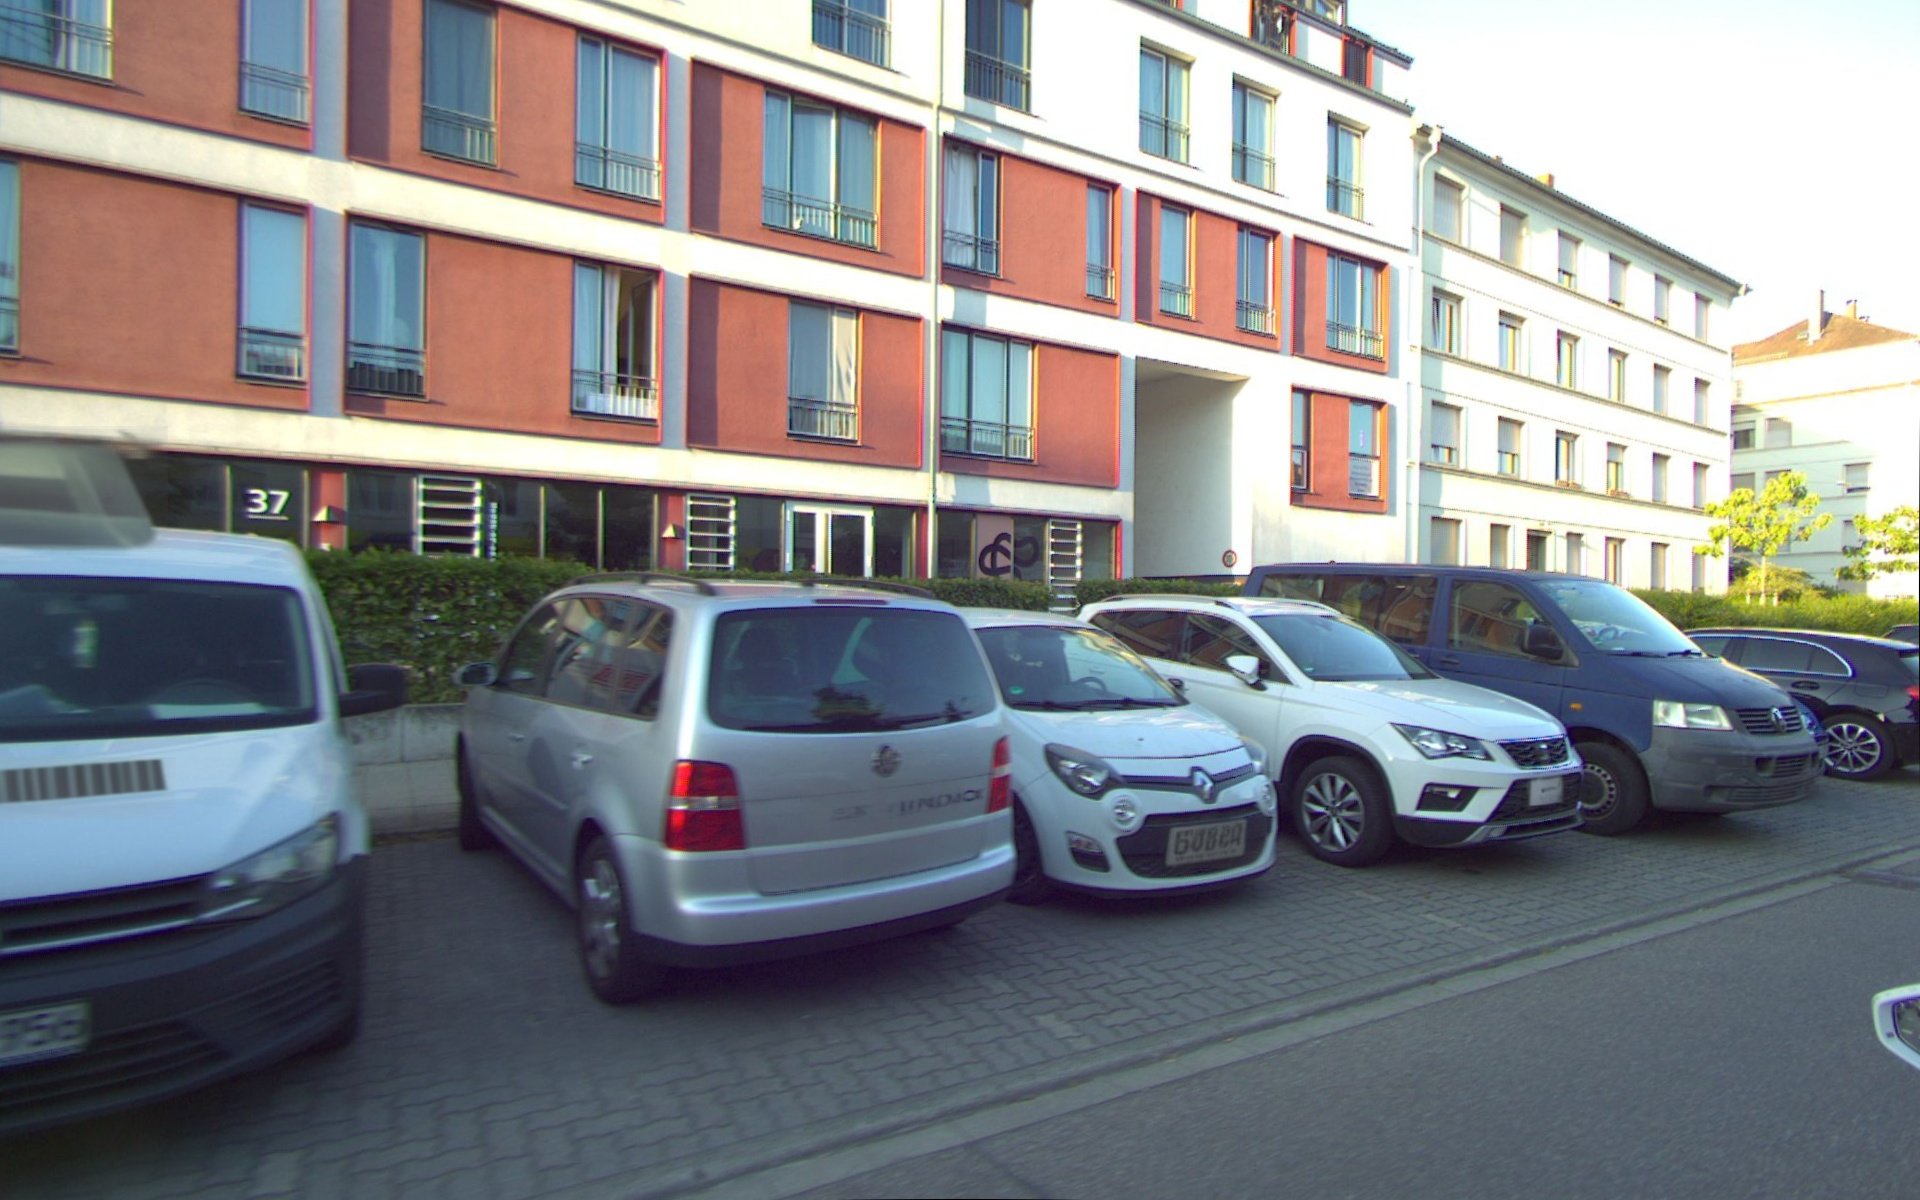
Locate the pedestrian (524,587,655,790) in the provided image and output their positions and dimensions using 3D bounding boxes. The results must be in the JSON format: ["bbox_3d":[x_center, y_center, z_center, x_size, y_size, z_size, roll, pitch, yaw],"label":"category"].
[{"bbox_3d":[-2.976,0.666,8.042,0.821,1.508,0.853,1,0,-32],"label":"pedestrian"}]

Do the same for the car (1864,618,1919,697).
[{"bbox_3d":[19.873,1.193,18.551,1.808,1.471,4.381,1,2,-33],"label":"car"}]

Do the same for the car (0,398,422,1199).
[{"bbox_3d":[-3.416,0.500,4.013,1.878,1.921,4.153,1,-1,-33],"label":"car"}]

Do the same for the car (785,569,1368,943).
[{"bbox_3d":[0.400,0.714,6.583,1.776,1.639,3.968,2,-1,-30],"label":"car"}]

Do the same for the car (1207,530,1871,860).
[{"bbox_3d":[4.610,0.621,8.957,1.975,2.082,4.835,1,-1,-28],"label":"car"}]

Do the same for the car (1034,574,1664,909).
[{"bbox_3d":[2.503,0.736,7.528,1.879,1.746,4.166,-1,0,-30],"label":"car"}]

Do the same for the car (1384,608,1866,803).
[{"bbox_3d":[6.682,0.915,10.521,1.636,1.513,3.860,1,1,-33],"label":"car"}]

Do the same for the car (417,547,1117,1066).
[{"bbox_3d":[-1.329,0.679,5.323,2.036,1.610,3.955,1,-1,-39],"label":"car"}]

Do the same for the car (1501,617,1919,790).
[{"bbox_3d":[8.695,1.019,11.427,1.721,1.435,4.110,1,1,-35],"label":"car"}]
